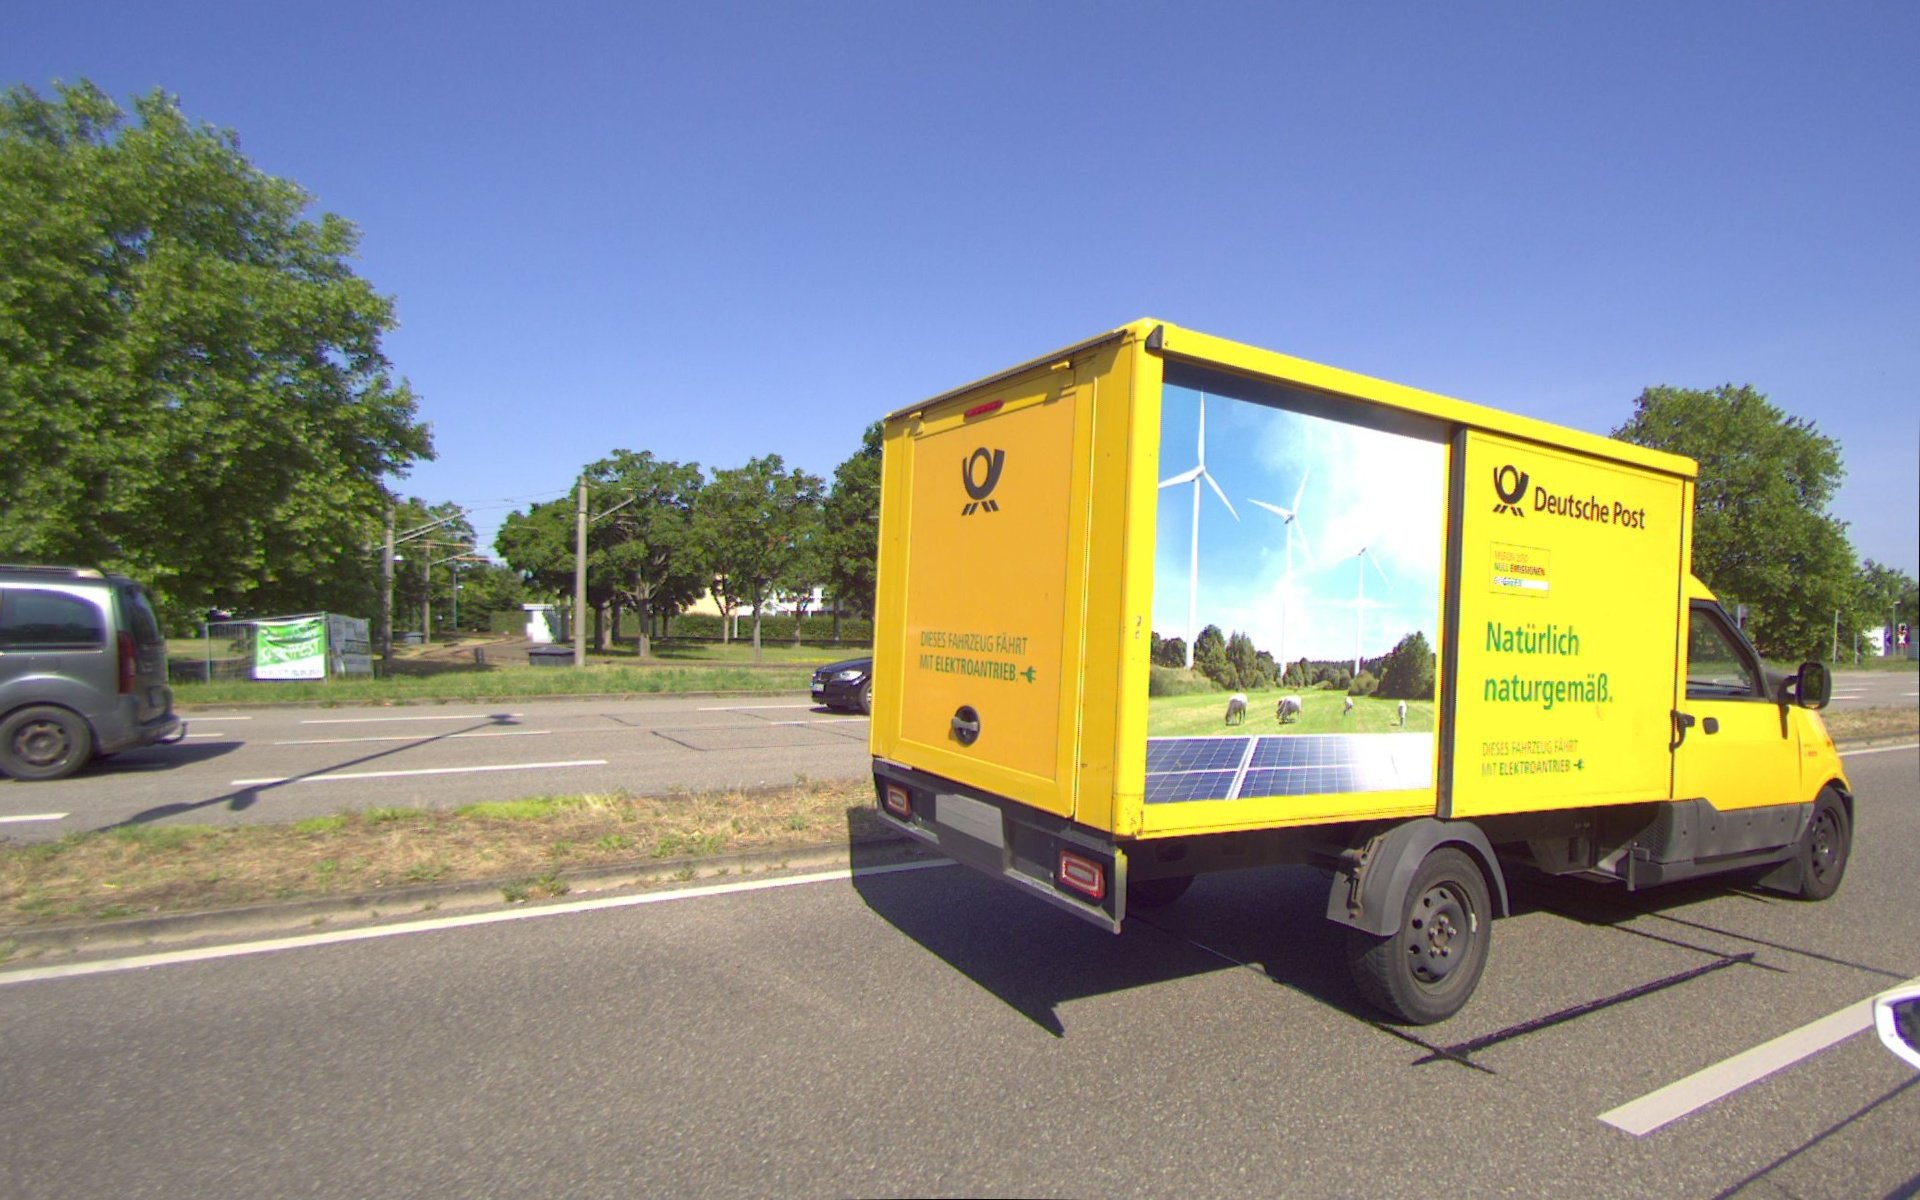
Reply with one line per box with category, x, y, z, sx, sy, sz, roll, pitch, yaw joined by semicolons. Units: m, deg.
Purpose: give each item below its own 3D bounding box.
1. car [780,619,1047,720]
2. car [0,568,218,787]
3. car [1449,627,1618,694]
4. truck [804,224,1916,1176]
car;-0.772;1.171;17.607;4.356;1.565;1.853;2;-3;-31
car;-9.288;0.629;8.604;4.436;1.803;1.972;2;-2;-30
car;15.445;1.590;27.026;4.501;1.682;1.973;2;-2;-30
truck;2.361;0.328;5.064;5.850;2.490;2.101;2;0;-31
